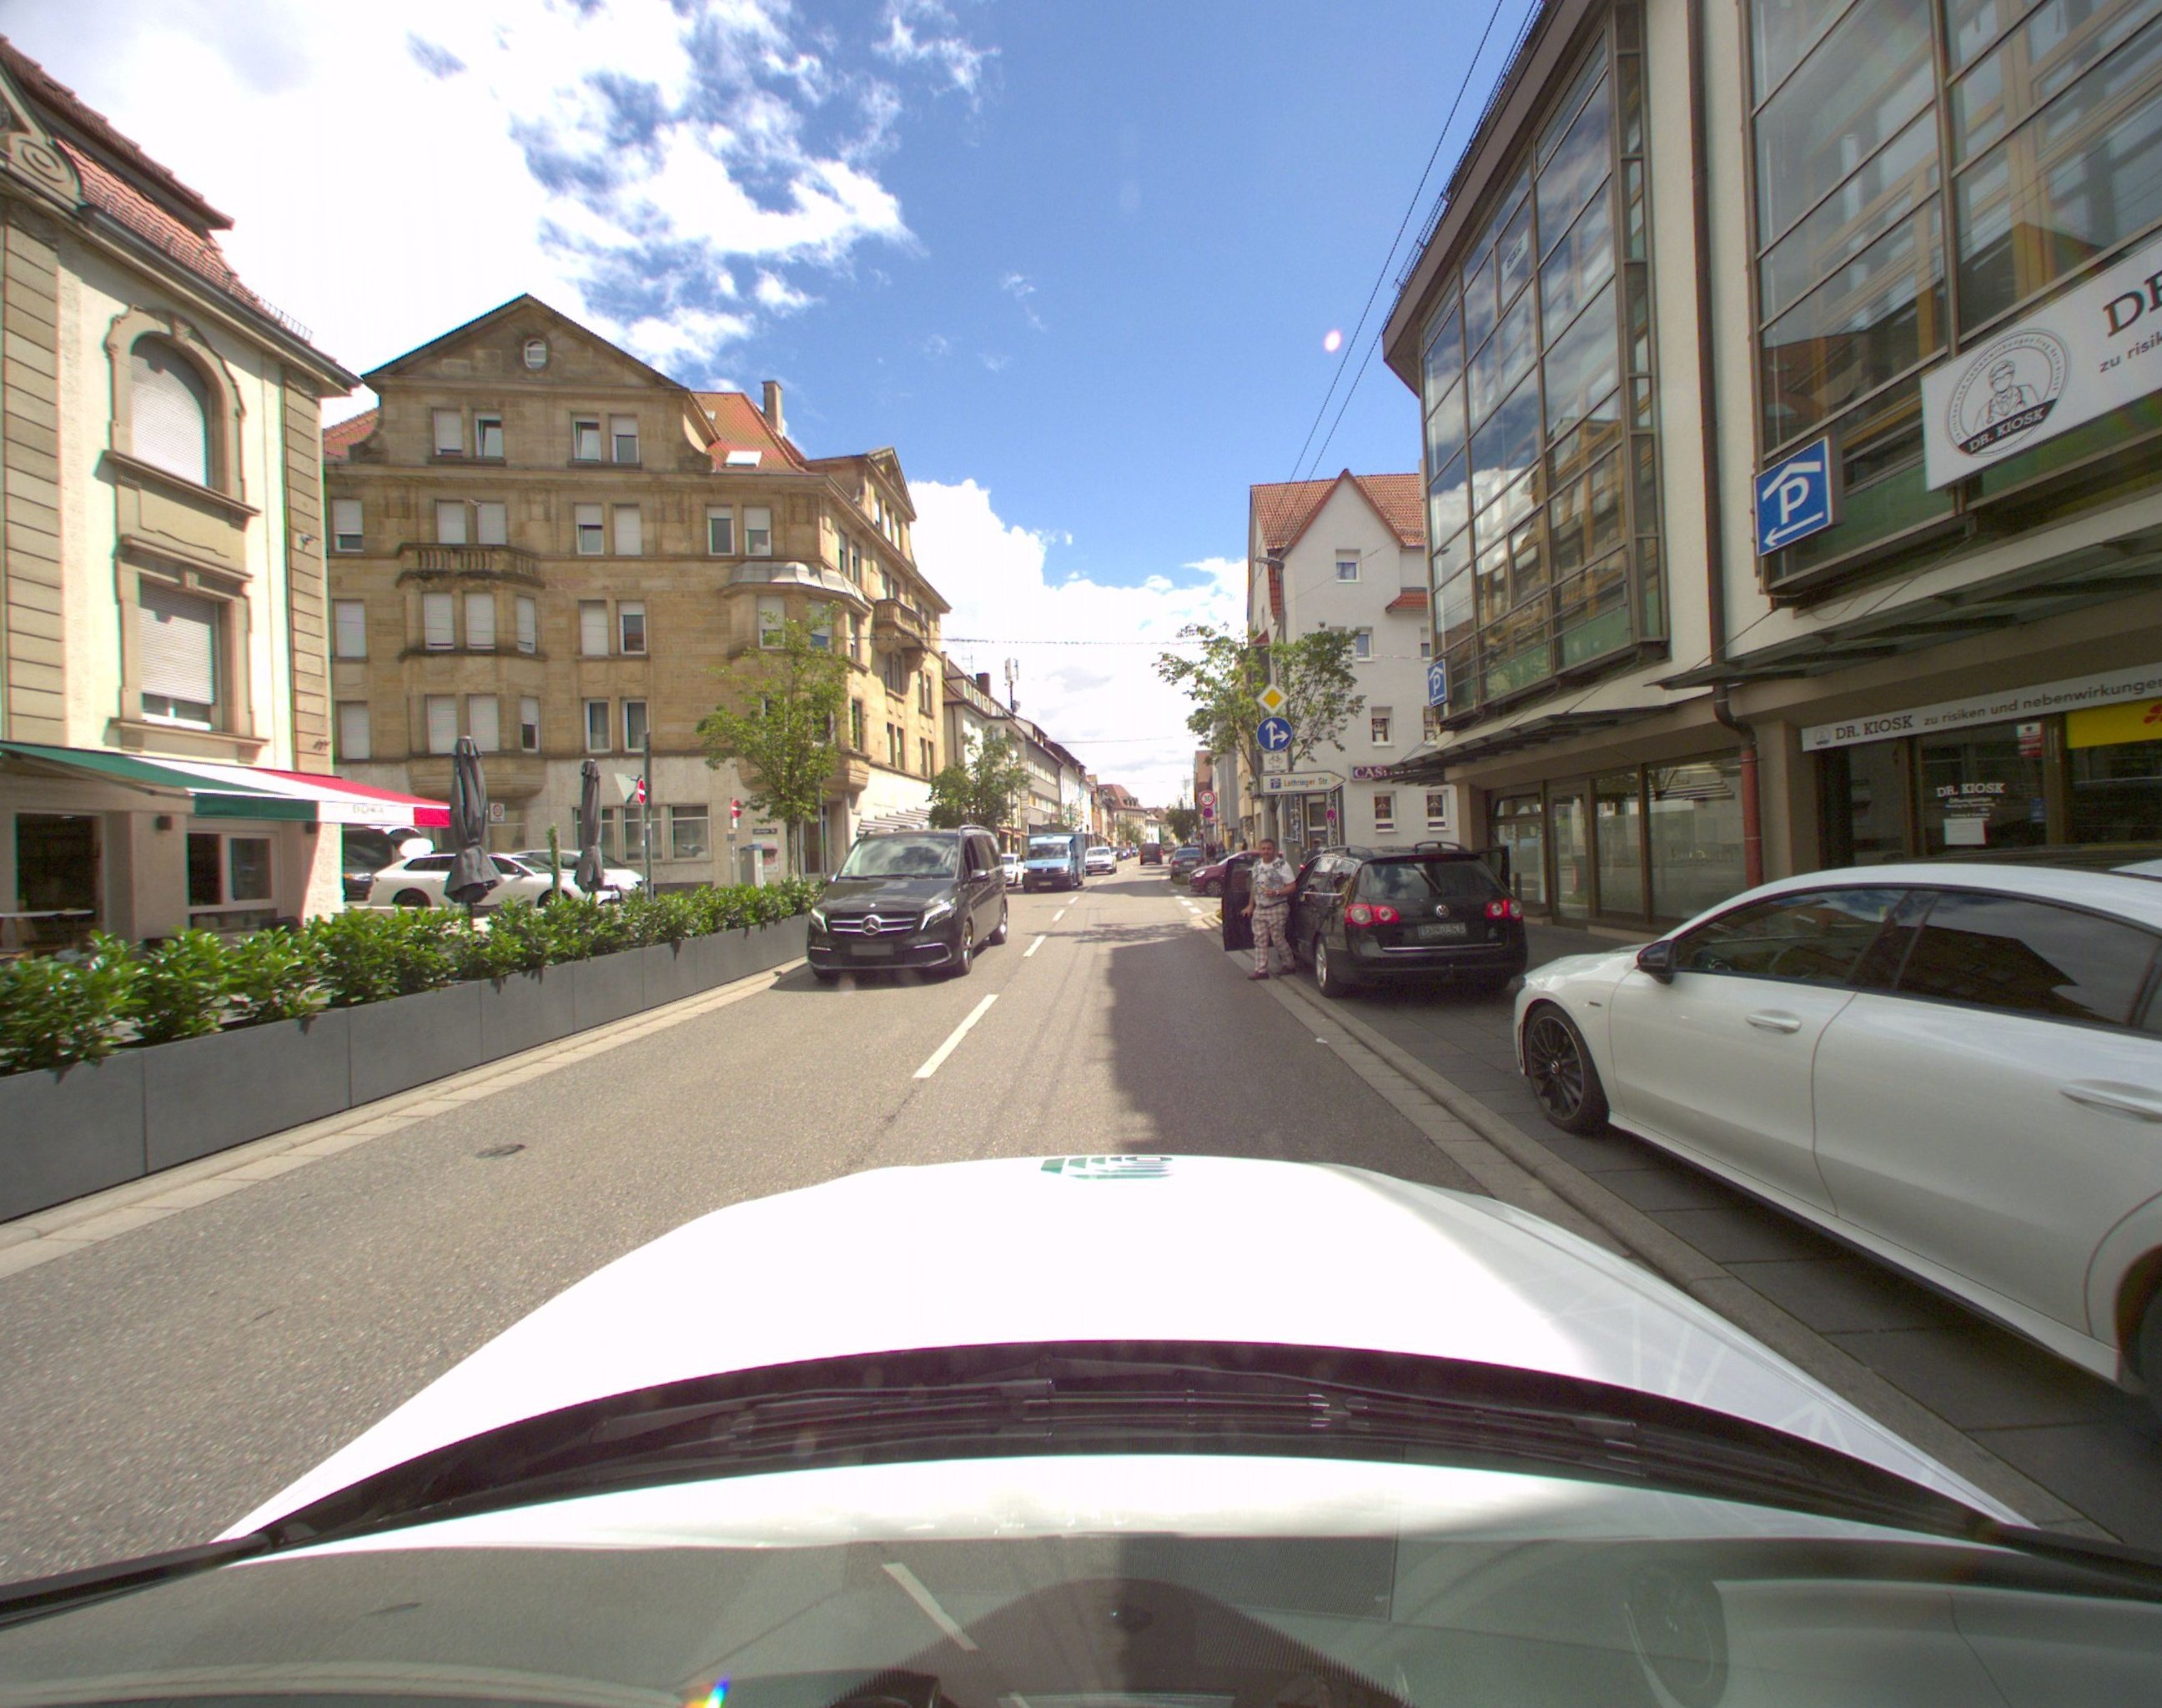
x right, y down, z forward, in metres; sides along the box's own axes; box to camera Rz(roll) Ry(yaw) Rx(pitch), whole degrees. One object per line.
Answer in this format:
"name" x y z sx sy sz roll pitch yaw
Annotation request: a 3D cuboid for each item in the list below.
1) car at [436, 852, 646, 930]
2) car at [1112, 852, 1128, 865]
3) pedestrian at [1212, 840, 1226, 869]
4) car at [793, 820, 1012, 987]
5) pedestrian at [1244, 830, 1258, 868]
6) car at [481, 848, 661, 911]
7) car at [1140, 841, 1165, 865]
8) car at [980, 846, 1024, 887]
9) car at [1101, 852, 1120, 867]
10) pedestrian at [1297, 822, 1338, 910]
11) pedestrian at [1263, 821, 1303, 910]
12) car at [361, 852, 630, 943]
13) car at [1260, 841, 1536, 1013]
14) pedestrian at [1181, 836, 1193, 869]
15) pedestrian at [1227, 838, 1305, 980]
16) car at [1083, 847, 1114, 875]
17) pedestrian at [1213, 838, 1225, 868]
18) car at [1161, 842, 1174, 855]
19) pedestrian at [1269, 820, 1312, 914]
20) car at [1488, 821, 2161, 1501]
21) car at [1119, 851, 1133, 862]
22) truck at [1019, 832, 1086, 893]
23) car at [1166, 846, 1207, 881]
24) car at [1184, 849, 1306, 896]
"car" -13.697 0.896 20.952 3.992 1.750 1.991 -2 0 -14
"car" 5.076 0.612 107.223 1.986 1.585 4.001 -2 0 1
"pedestrian" 9.017 0.021 53.222 0.573 1.889 0.640 0 -1 -25
"car" -2.218 0.542 11.498 1.827 1.835 4.573 -2 0 3
"pedestrian" 8.502 -0.266 40.684 0.591 1.889 0.573 0 -1 4
"car" -14.848 0.706 23.884 3.978 1.662 1.907 -2 0 -3
"car" 6.129 -0.116 69.829 1.962 1.875 5.045 -2 1 5
"car" -3.558 0.503 37.214 1.705 1.712 3.998 -2 1 -2
"car" 3.224 0.550 90.502 1.986 1.585 4.001 -2 0 1
"pedestrian" 5.527 0.270 19.059 0.687 2.013 0.723 -1 0 -3
"pedestrian" 4.692 0.260 18.950 0.687 2.013 0.723 -1 0 -3
"car" -12.974 0.899 18.393 4.425 1.775 1.991 -2 0 -14
"car" 3.205 0.606 9.159 1.599 1.434 4.177 -2 1 3
"pedestrian" 6.575 -0.091 50.620 0.679 2.013 0.600 -1 0 6
"pedestrian" 2.189 0.617 9.634 0.658 1.594 0.682 -1 -1 39
"car" 1.042 0.396 48.360 1.691 1.585 3.959 -2 0 1
"pedestrian" 9.448 -0.071 55.655 0.680 2.013 0.599 -1 0 0
"car" 15.858 -1.036 149.055 2.052 2.301 4.236 -1 0 10
"pedestrian" 4.580 0.279 17.872 0.687 2.013 0.723 -1 0 -3
"car" 3.146 0.638 2.651 1.615 1.434 4.242 -3 0 2
"car" 7.034 0.398 127.448 1.986 1.585 4.001 -2 0 1
"truck" -1.055 0.268 32.701 2.056 2.165 5.300 -2 1 4
"car" 4.793 0.409 37.247 1.515 1.434 3.372 -2 1 2
"car" 5.184 0.573 26.019 3.608 1.413 1.590 0 0 1
